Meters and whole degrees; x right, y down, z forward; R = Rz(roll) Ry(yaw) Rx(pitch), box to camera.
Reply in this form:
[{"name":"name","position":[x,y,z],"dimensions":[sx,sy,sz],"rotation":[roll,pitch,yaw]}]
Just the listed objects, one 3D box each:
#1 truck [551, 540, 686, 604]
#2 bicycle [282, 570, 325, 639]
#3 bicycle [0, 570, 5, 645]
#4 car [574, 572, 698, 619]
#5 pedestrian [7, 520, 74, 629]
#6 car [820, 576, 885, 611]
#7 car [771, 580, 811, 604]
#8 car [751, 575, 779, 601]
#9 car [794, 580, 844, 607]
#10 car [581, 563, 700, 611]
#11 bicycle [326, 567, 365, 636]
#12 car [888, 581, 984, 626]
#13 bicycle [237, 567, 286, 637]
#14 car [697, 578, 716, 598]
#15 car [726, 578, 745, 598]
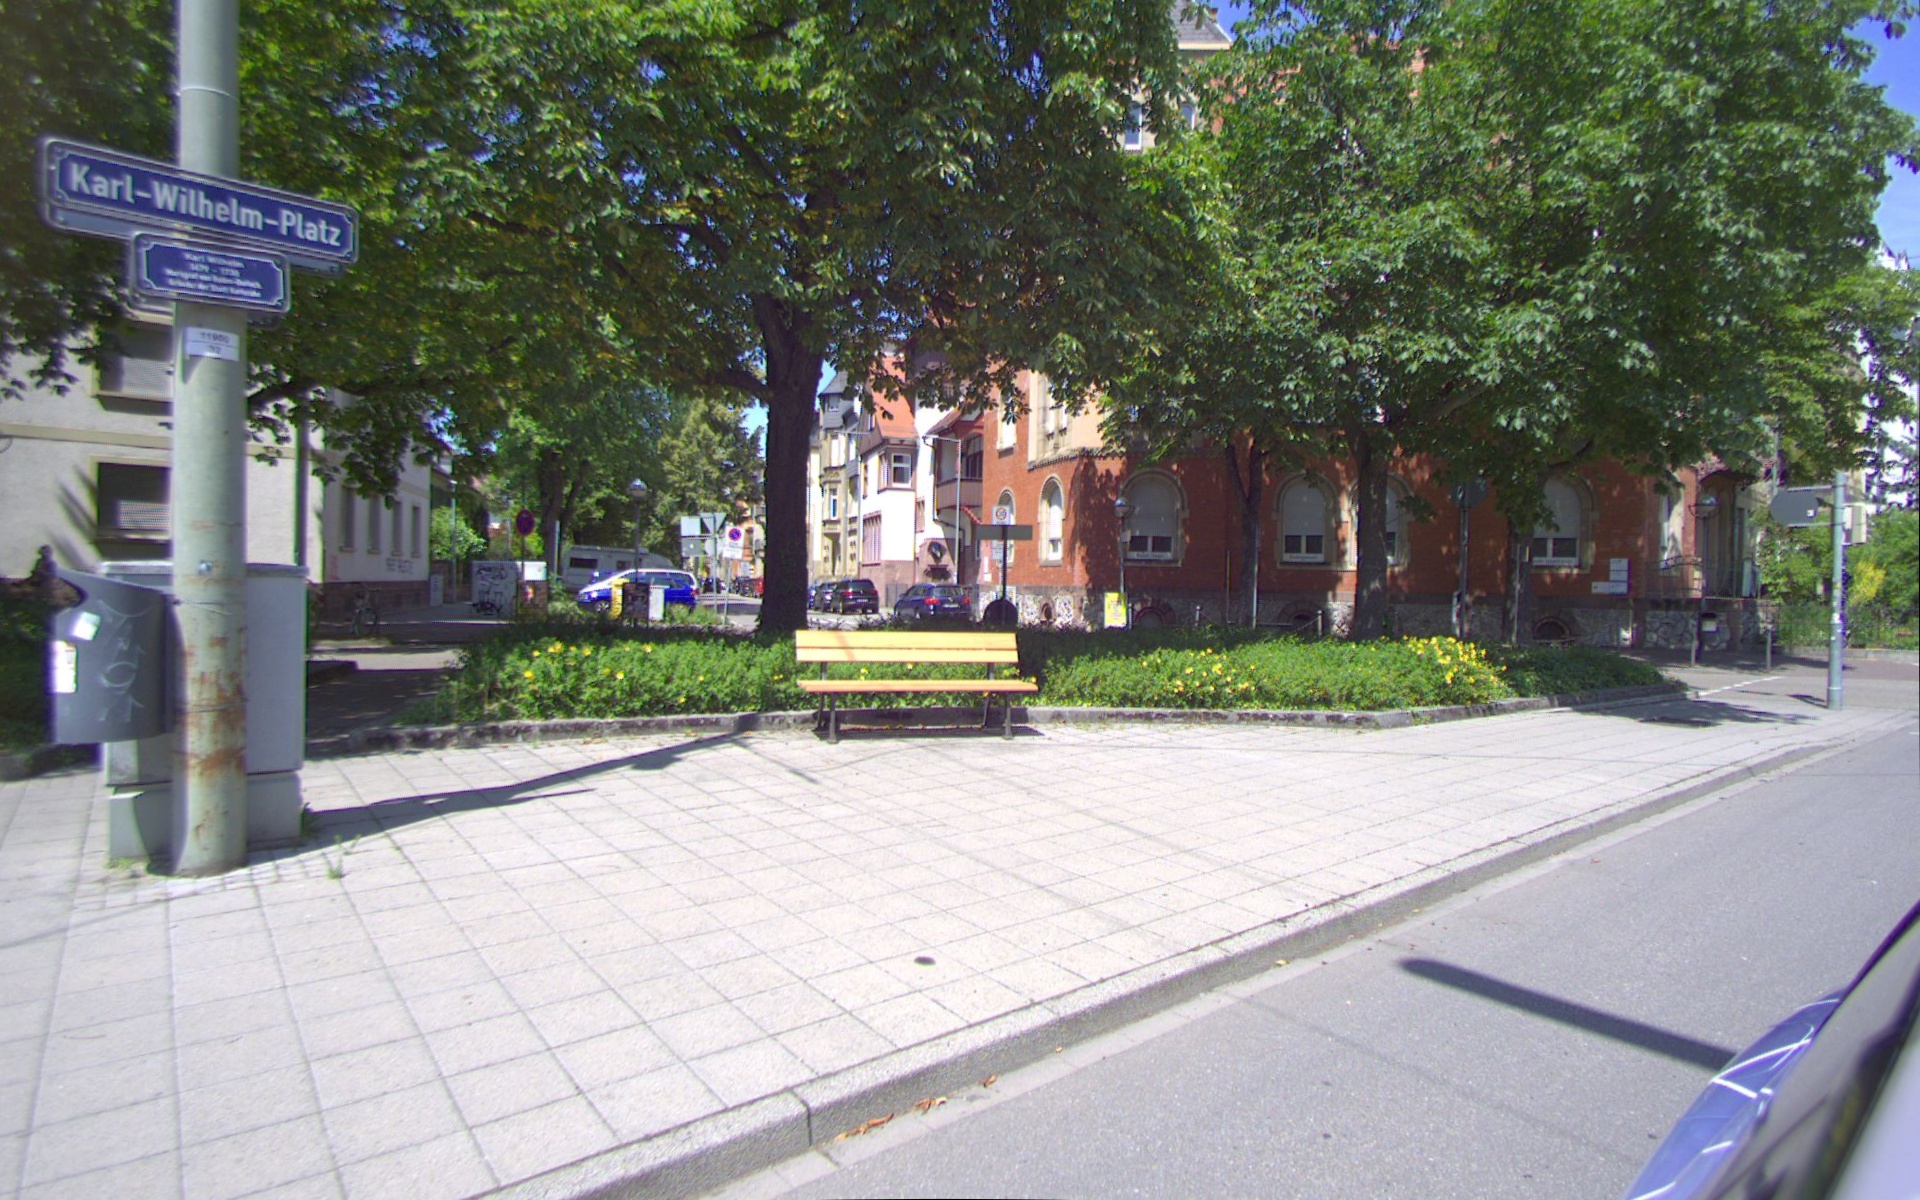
[{"name":"truck","position":[-18.371,-1.453,54.599],"dimensions":[6.685,3.193,1.939],"rotation":[1,0,-19]},{"name":"bicycle","position":[-13.206,0.066,20.392],"dimensions":[0.536,1.316,2.162],"rotation":[0,1,-28]},{"name":"bicycle","position":[-17.467,0.152,17.704],"dimensions":[0.505,1.364,2.247],"rotation":[0,1,-28]},{"name":"car","position":[-10.762,-0.137,33.613],"dimensions":[3.807,1.447,1.731],"rotation":[1,0,-21]},{"name":"pedestrian","position":[-17.613,-0.481,19.396],"dimensions":[0.757,2.039,0.809],"rotation":[0,0,-27]},{"name":"car","position":[-5.206,-0.324,48.187],"dimensions":[1.946,1.551,5.502],"rotation":[0,1,-18]},{"name":"car","position":[-11.455,-0.565,68.290],"dimensions":[1.865,1.575,4.411],"rotation":[0,1,-20]},{"name":"car","position":[-15.811,-0.984,82.030],"dimensions":[1.868,2.039,4.009],"rotation":[0,1,-16]},{"name":"car","position":[-8.022,-0.395,57.389],"dimensions":[1.865,1.482,4.625],"rotation":[0,1,-20]},{"name":"car","position":[-12.147,-0.470,38.481],"dimensions":[4.176,1.673,1.731],"rotation":[1,0,-21]},{"name":"bicycle","position":[-12.350,0.005,20.376],"dimensions":[0.536,1.316,2.162],"rotation":[0,1,-28]},{"name":"car","position":[-0.904,0.076,34.745],"dimensions":[1.865,1.459,4.769],"rotation":[0,1,-20]},{"name":"bicycle","position":[-13.911,0.018,20.193],"dimensions":[0.536,1.316,2.162],"rotation":[0,1,-28]},{"name":"car","position":[-25.448,-1.214,101.566],"dimensions":[1.705,2.039,4.009],"rotation":[0,1,-16]},{"name":"car","position":[-22.988,-1.239,103.402],"dimensions":[1.705,2.039,4.009],"rotation":[0,1,-16]}]
